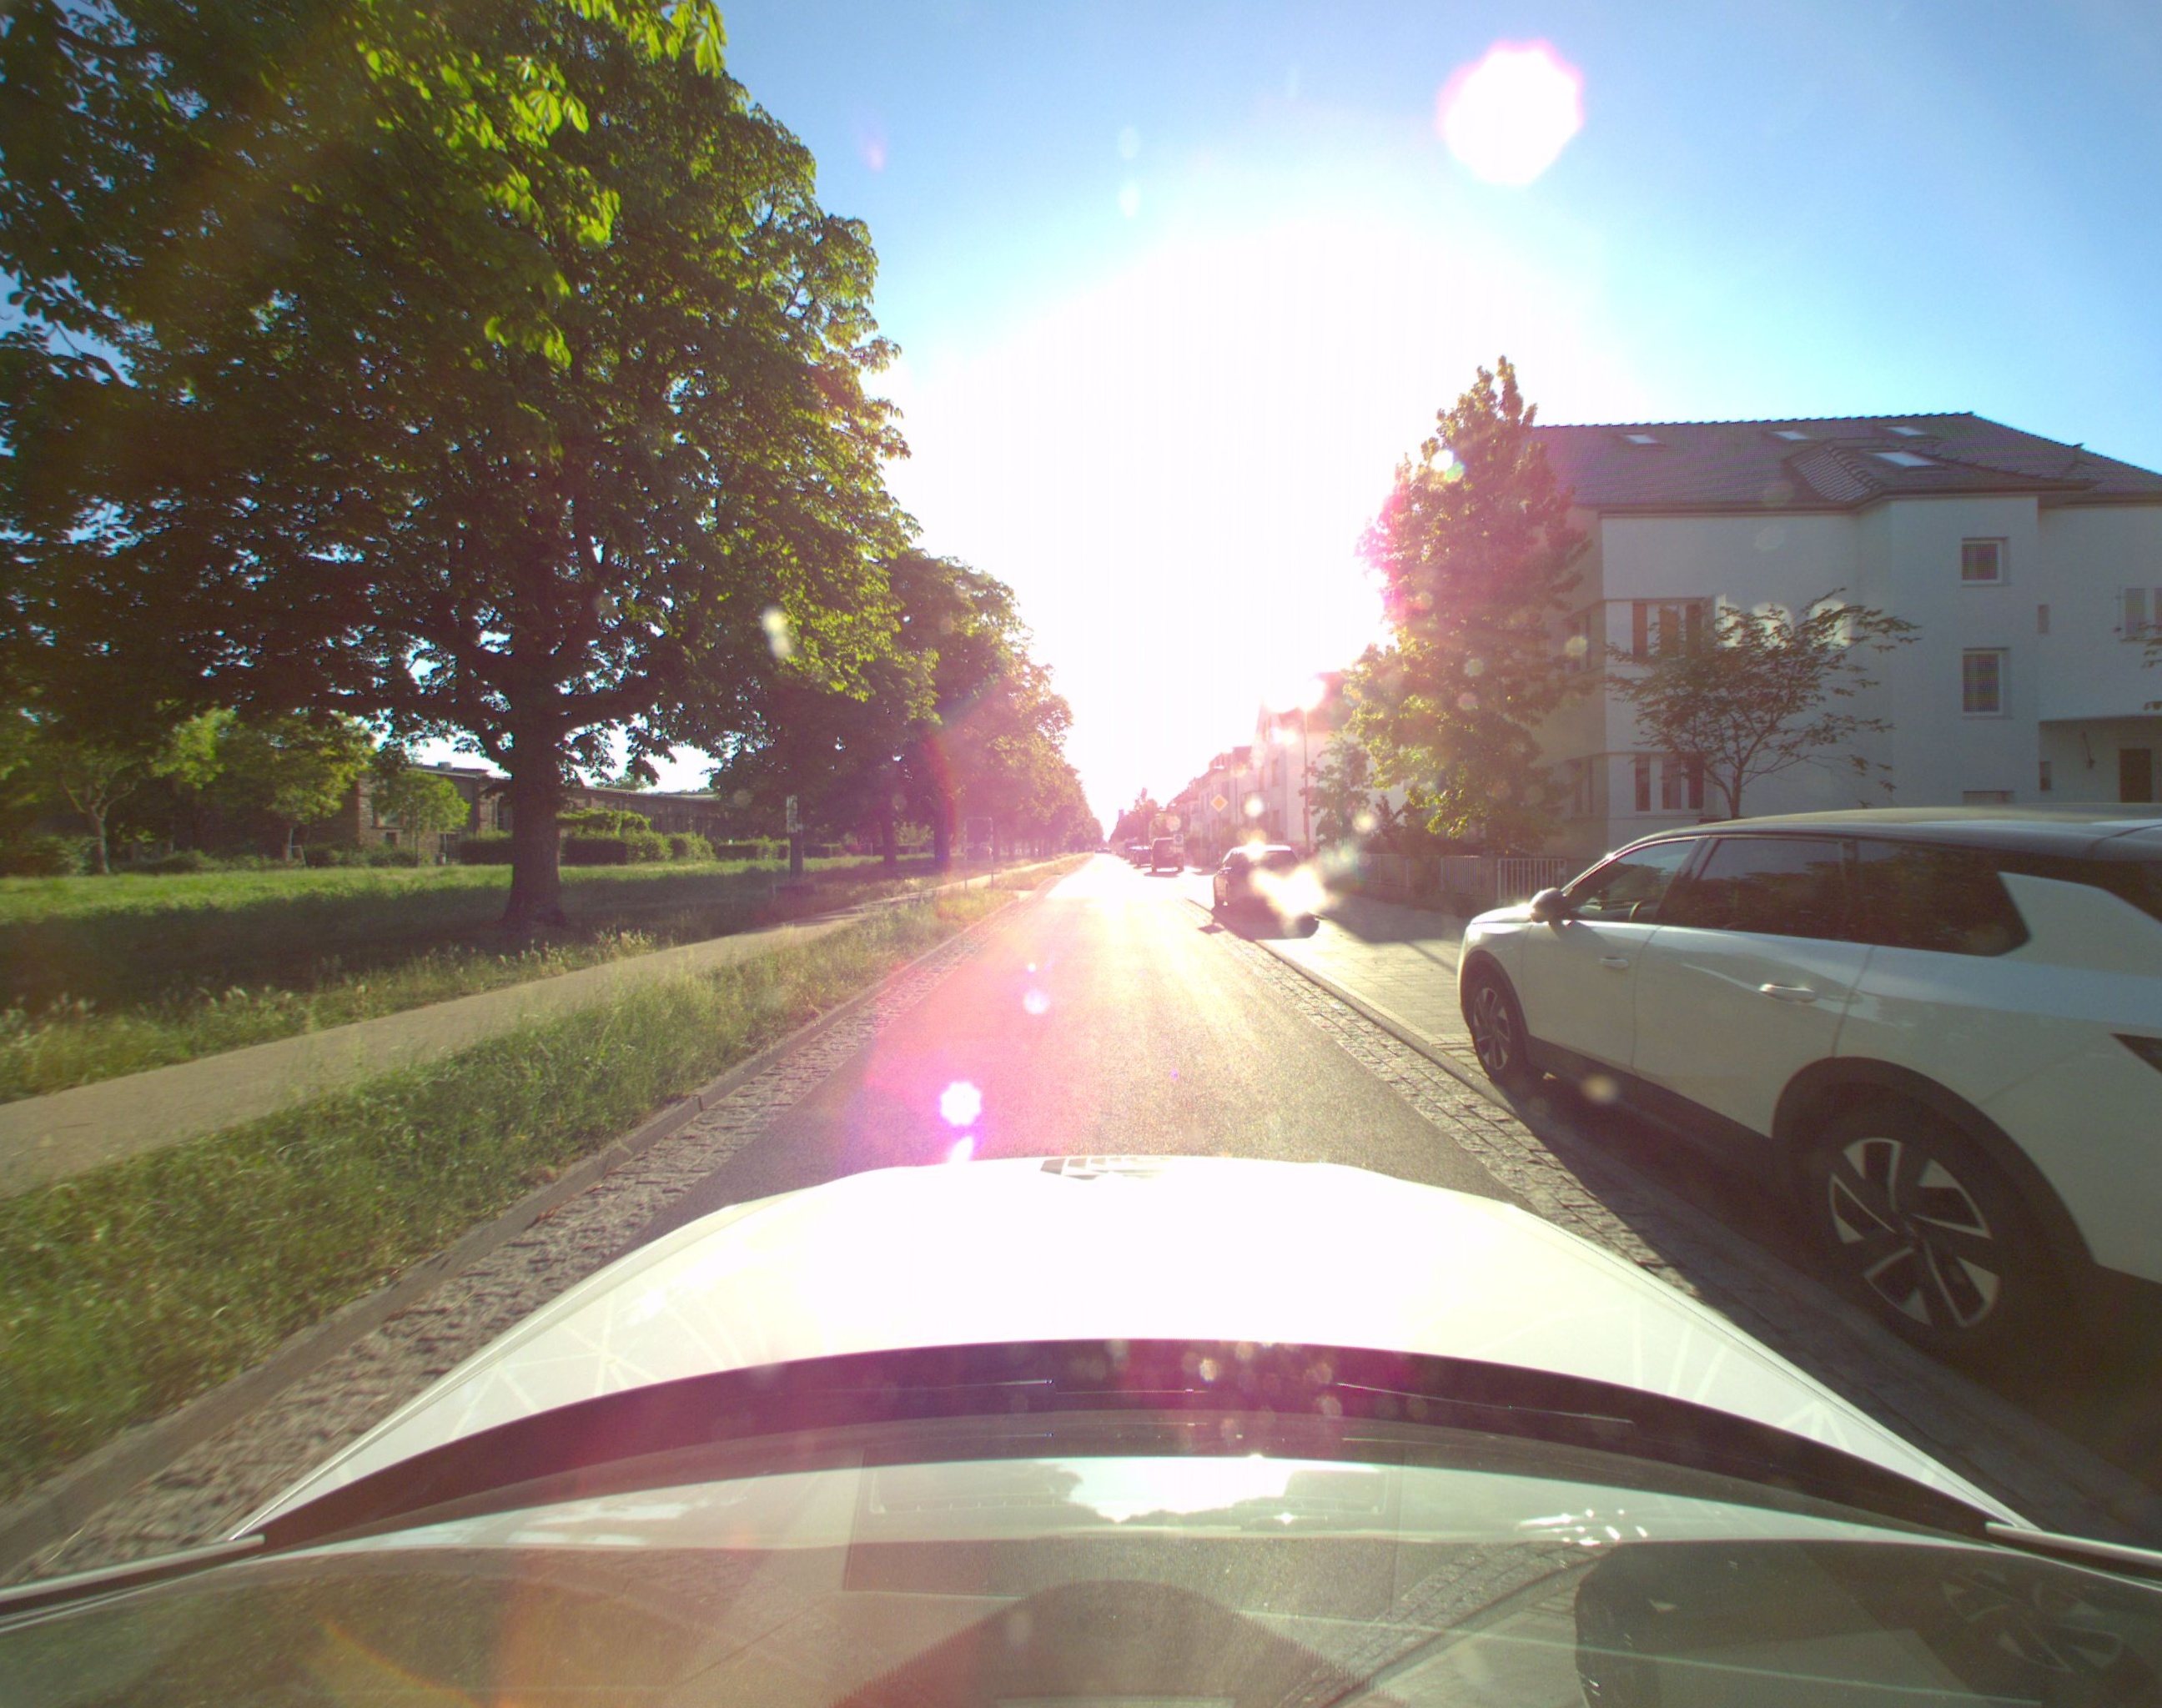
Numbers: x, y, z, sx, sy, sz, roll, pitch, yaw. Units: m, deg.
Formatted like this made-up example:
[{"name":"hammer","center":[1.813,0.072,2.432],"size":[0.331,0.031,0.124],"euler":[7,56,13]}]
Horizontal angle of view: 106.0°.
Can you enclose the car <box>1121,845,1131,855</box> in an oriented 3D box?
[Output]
[{"name":"car","center":[7.470,-0.615,134.664],"size":[1.643,1.530,3.854],"euler":[-2,1,3]}]

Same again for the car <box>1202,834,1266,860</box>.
[{"name":"car","center":[11.005,-0.488,58.618],"size":[4.206,1.726,1.852],"euler":[-2,0,-2]}]

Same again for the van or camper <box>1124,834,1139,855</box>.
[{"name":"van or camper","center":[6.852,-1.262,110.503],"size":[1.936,2.777,5.942],"euler":[0,0,2]}]

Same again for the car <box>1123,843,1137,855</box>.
[{"name":"car","center":[6.217,-0.657,104.172],"size":[1.657,1.593,4.088],"euler":[0,0,2]}]

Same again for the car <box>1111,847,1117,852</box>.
[{"name":"car","center":[9.203,-1.228,228.579],"size":[1.643,1.530,3.854],"euler":[1,1,3]}]

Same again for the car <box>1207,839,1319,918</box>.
[{"name":"car","center":[4.097,0.471,18.974],"size":[1.787,1.482,4.127],"euler":[-4,2,3]}]

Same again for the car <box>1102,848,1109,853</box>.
[{"name":"car","center":[7.161,-0.975,236.984],"size":[1.856,1.597,3.871],"euler":[0,0,1]}]

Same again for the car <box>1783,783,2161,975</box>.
[{"name":"car","center":[10.335,0.216,8.852],"size":[3.975,1.844,1.813],"euler":[0,2,-4]}]

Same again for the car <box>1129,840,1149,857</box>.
[{"name":"car","center":[5.917,-0.606,83.271],"size":[1.825,1.685,4.418],"euler":[0,1,2]}]

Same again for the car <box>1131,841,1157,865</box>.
[{"name":"car","center":[5.033,-0.080,65.342],"size":[1.787,1.771,4.474],"euler":[-3,1,2]}]

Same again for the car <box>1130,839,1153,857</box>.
[{"name":"car","center":[5.729,-0.539,77.410],"size":[1.713,1.574,4.207],"euler":[-3,0,-2]}]

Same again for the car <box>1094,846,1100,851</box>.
[{"name":"car","center":[4.941,-1.695,251.798],"size":[1.643,1.530,3.854],"euler":[2,1,3]}]

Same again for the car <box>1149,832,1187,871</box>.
[{"name":"car","center":[5.184,-0.169,48.946],"size":[1.898,2.131,4.818],"euler":[-3,1,3]}]

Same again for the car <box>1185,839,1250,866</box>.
[{"name":"car","center":[9.490,-0.115,56.906],"size":[4.206,1.726,1.852],"euler":[-2,0,-2]}]

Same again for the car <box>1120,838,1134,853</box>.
[{"name":"car","center":[7.947,-1.511,140.975],"size":[2.119,2.532,5.188],"euler":[-2,1,0]}]

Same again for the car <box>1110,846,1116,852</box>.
[{"name":"car","center":[9.739,-1.491,247.228],"size":[1.856,1.596,3.895],"euler":[-1,2,1]}]

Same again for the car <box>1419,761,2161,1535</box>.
[{"name":"car","center":[3.413,0.548,3.836],"size":[1.897,1.708,4.580],"euler":[-3,1,3]}]
